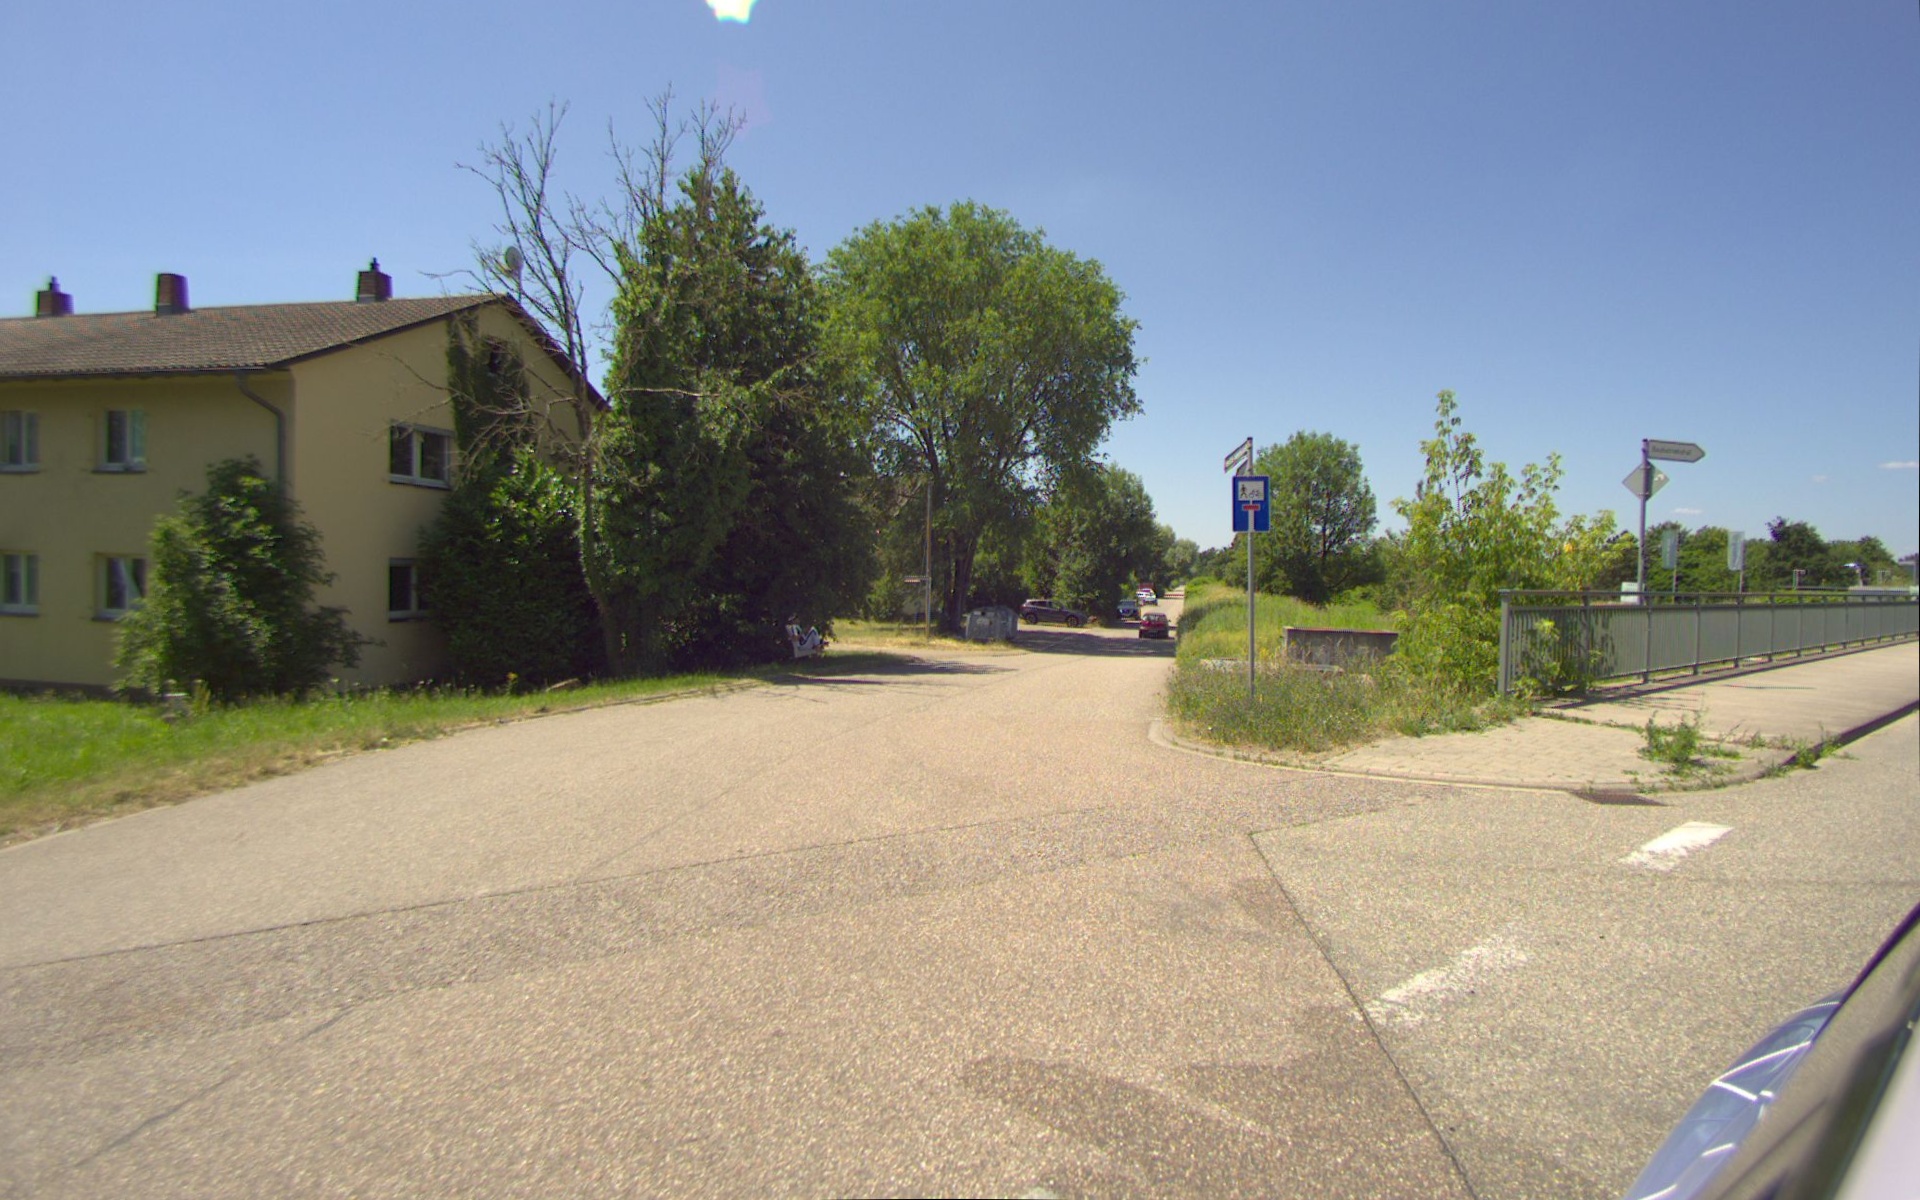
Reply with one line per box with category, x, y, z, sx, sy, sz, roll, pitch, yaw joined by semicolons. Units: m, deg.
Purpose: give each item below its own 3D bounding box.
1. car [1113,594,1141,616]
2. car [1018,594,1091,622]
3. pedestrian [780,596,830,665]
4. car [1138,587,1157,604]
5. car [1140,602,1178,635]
car;13.576;0.364;82.062;1.969;1.644;4.496;2;1;12
car;6.113;0.501;65.171;4.444;1.644;1.993;2;1;13
pedestrian;-3.417;0.668;22.270;0.833;1.410;0.684;3;2;-28
car;23.876;-0.580;128.707;2.246;2.059;4.776;2;1;12
car;11.442;1.017;58.024;1.969;1.644;4.496;2;1;12
